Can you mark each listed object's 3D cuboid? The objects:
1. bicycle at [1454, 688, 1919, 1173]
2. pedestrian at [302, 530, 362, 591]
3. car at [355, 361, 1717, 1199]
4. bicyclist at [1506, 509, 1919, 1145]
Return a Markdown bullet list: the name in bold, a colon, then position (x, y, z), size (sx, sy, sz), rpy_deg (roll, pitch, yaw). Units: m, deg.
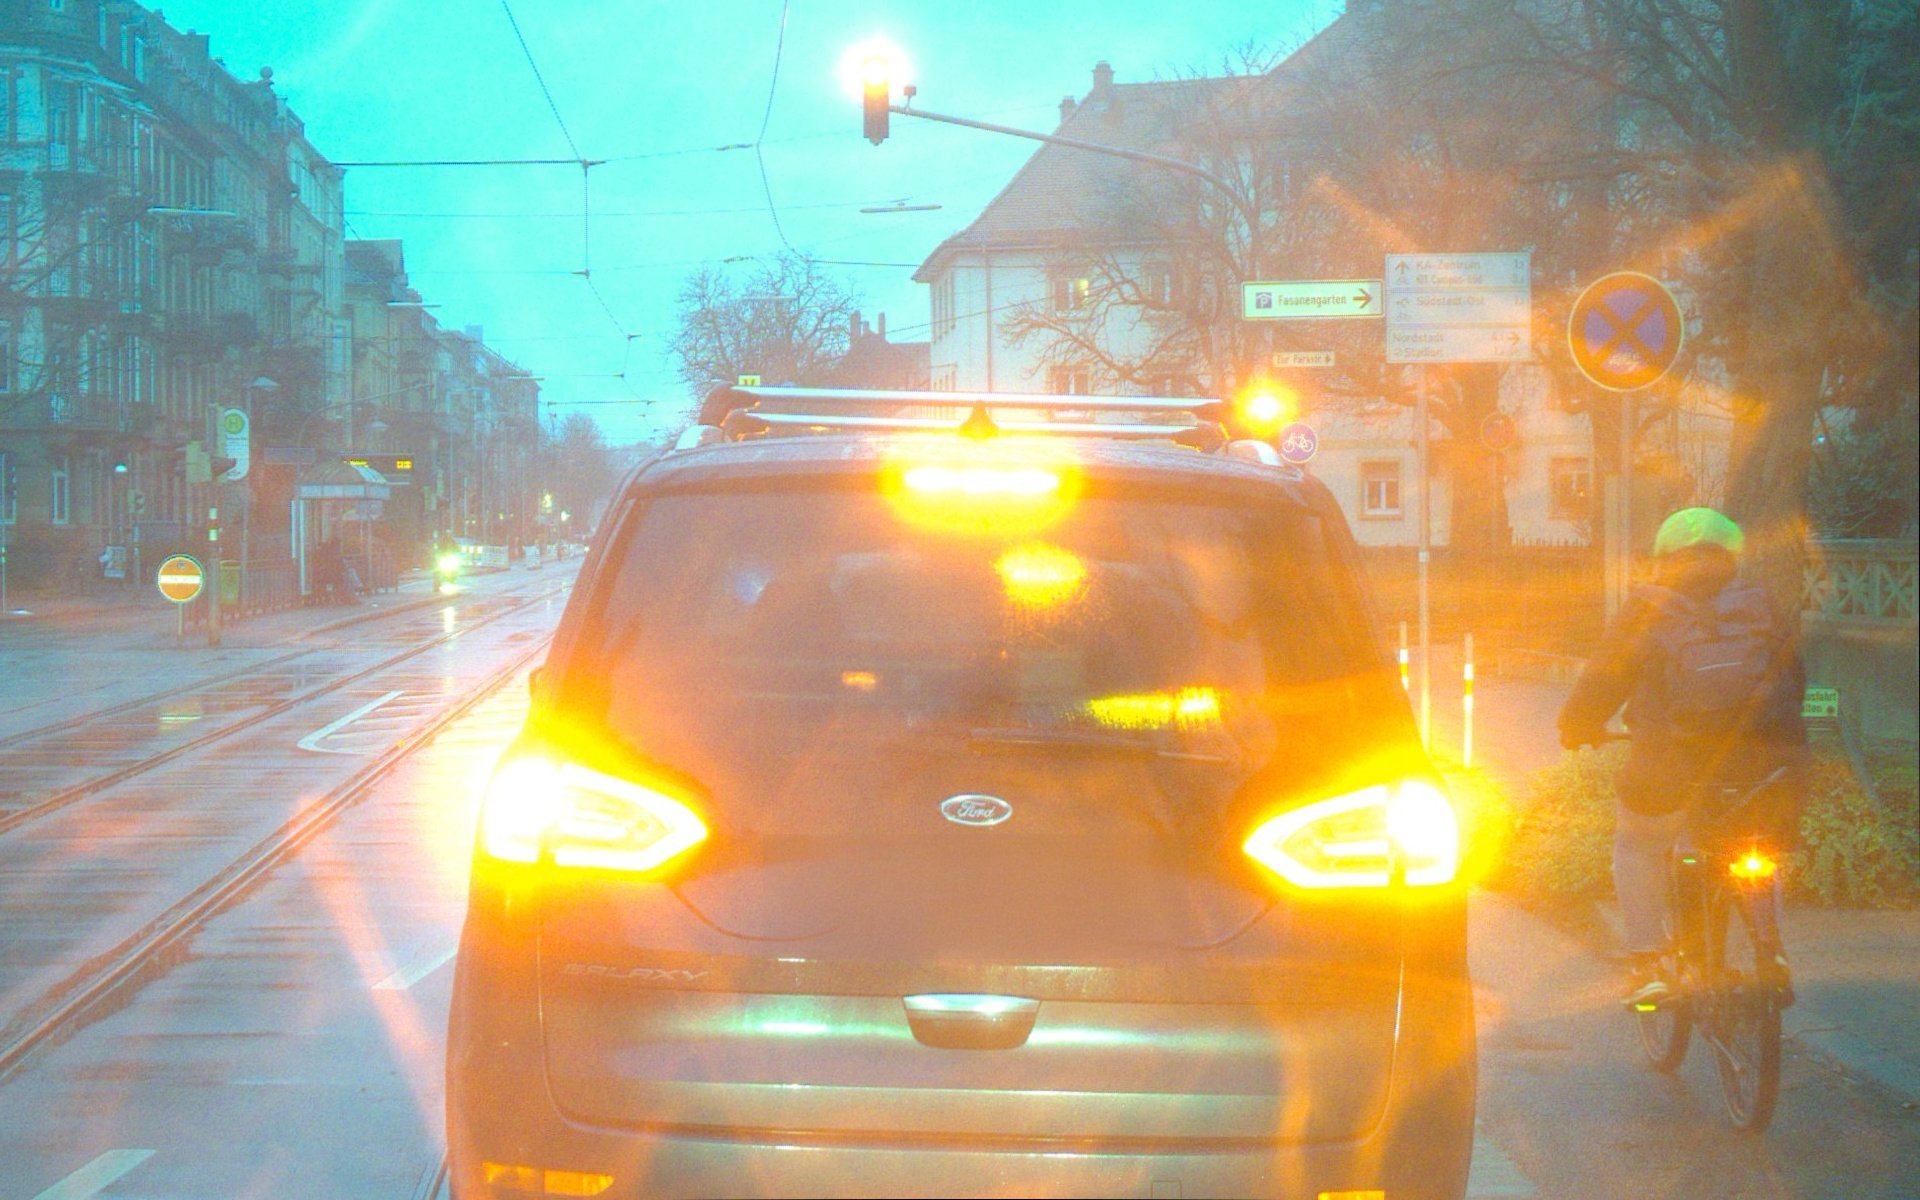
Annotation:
- **bicycle**: position (2.062, 0.873, 9.744), size (0.716, 1.108, 1.942), rpy_deg (4, 1, -8)
- **pedestrian**: position (-12.485, -0.783, 68.385), size (1.047, 1.196, 0.885), rpy_deg (1, 0, -3)
- **car**: position (0.035, 0.514, 7.730), size (2.103, 1.810, 4.661), rpy_deg (2, 1, -2)
- **bicyclist**: position (2.092, 0.596, 9.654), size (0.716, 1.657, 1.057), rpy_deg (3, 1, -8)
